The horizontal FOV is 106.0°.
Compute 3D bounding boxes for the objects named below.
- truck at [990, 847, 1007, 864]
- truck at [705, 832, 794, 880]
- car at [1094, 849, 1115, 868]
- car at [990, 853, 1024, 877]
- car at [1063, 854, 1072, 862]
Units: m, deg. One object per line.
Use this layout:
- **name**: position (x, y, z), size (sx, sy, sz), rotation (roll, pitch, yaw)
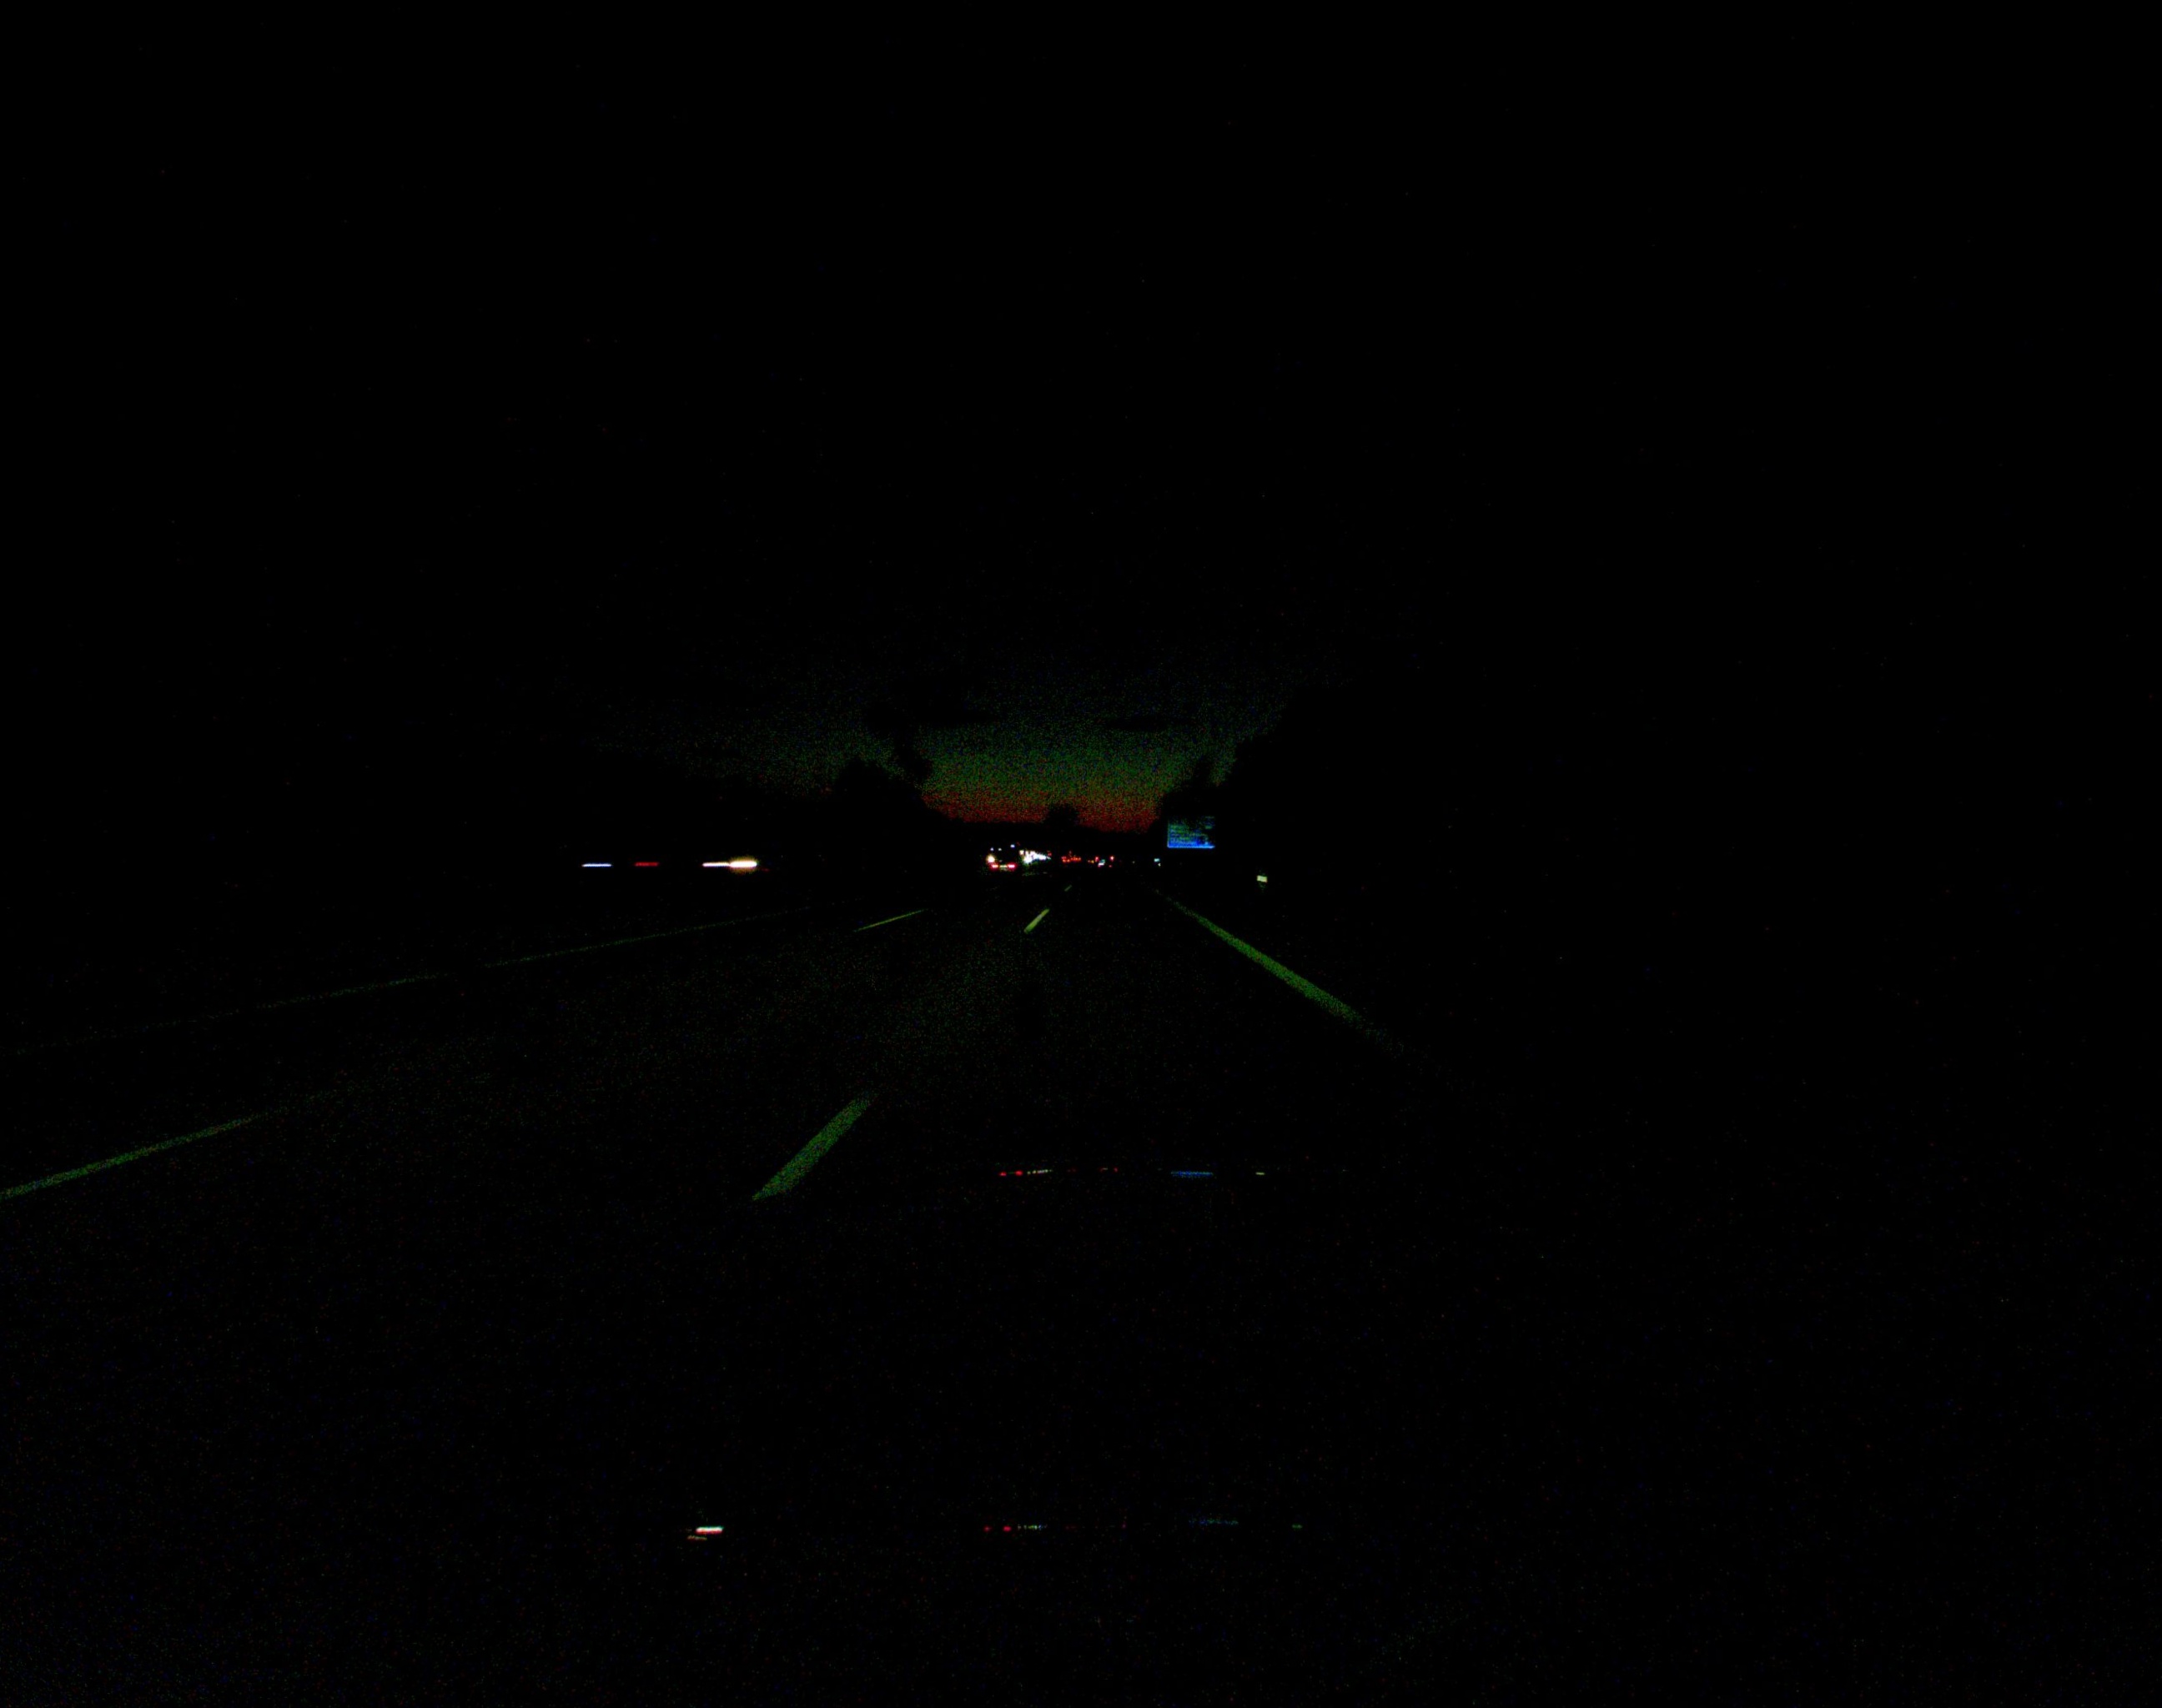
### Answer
- **truck**: position (-18.795, 0.362, 186.067), size (2.510, 3.851, 9.068), rotation (0, 0, 2)
- **truck**: position (-20.789, 0.084, 51.604), size (2.188, 2.725, 7.628), rotation (3, 1, 2)
- **car**: position (2.624, 0.451, 89.758), size (2.187, 1.955, 4.767), rotation (-1, 1, 3)
- **car**: position (-5.251, 0.755, 58.557), size (1.773, 1.486, 5.256), rotation (2, 1, 2)
- **car**: position (-3.637, 1.140, 217.117), size (2.188, 1.955, 4.636), rotation (2, 1, 2)
